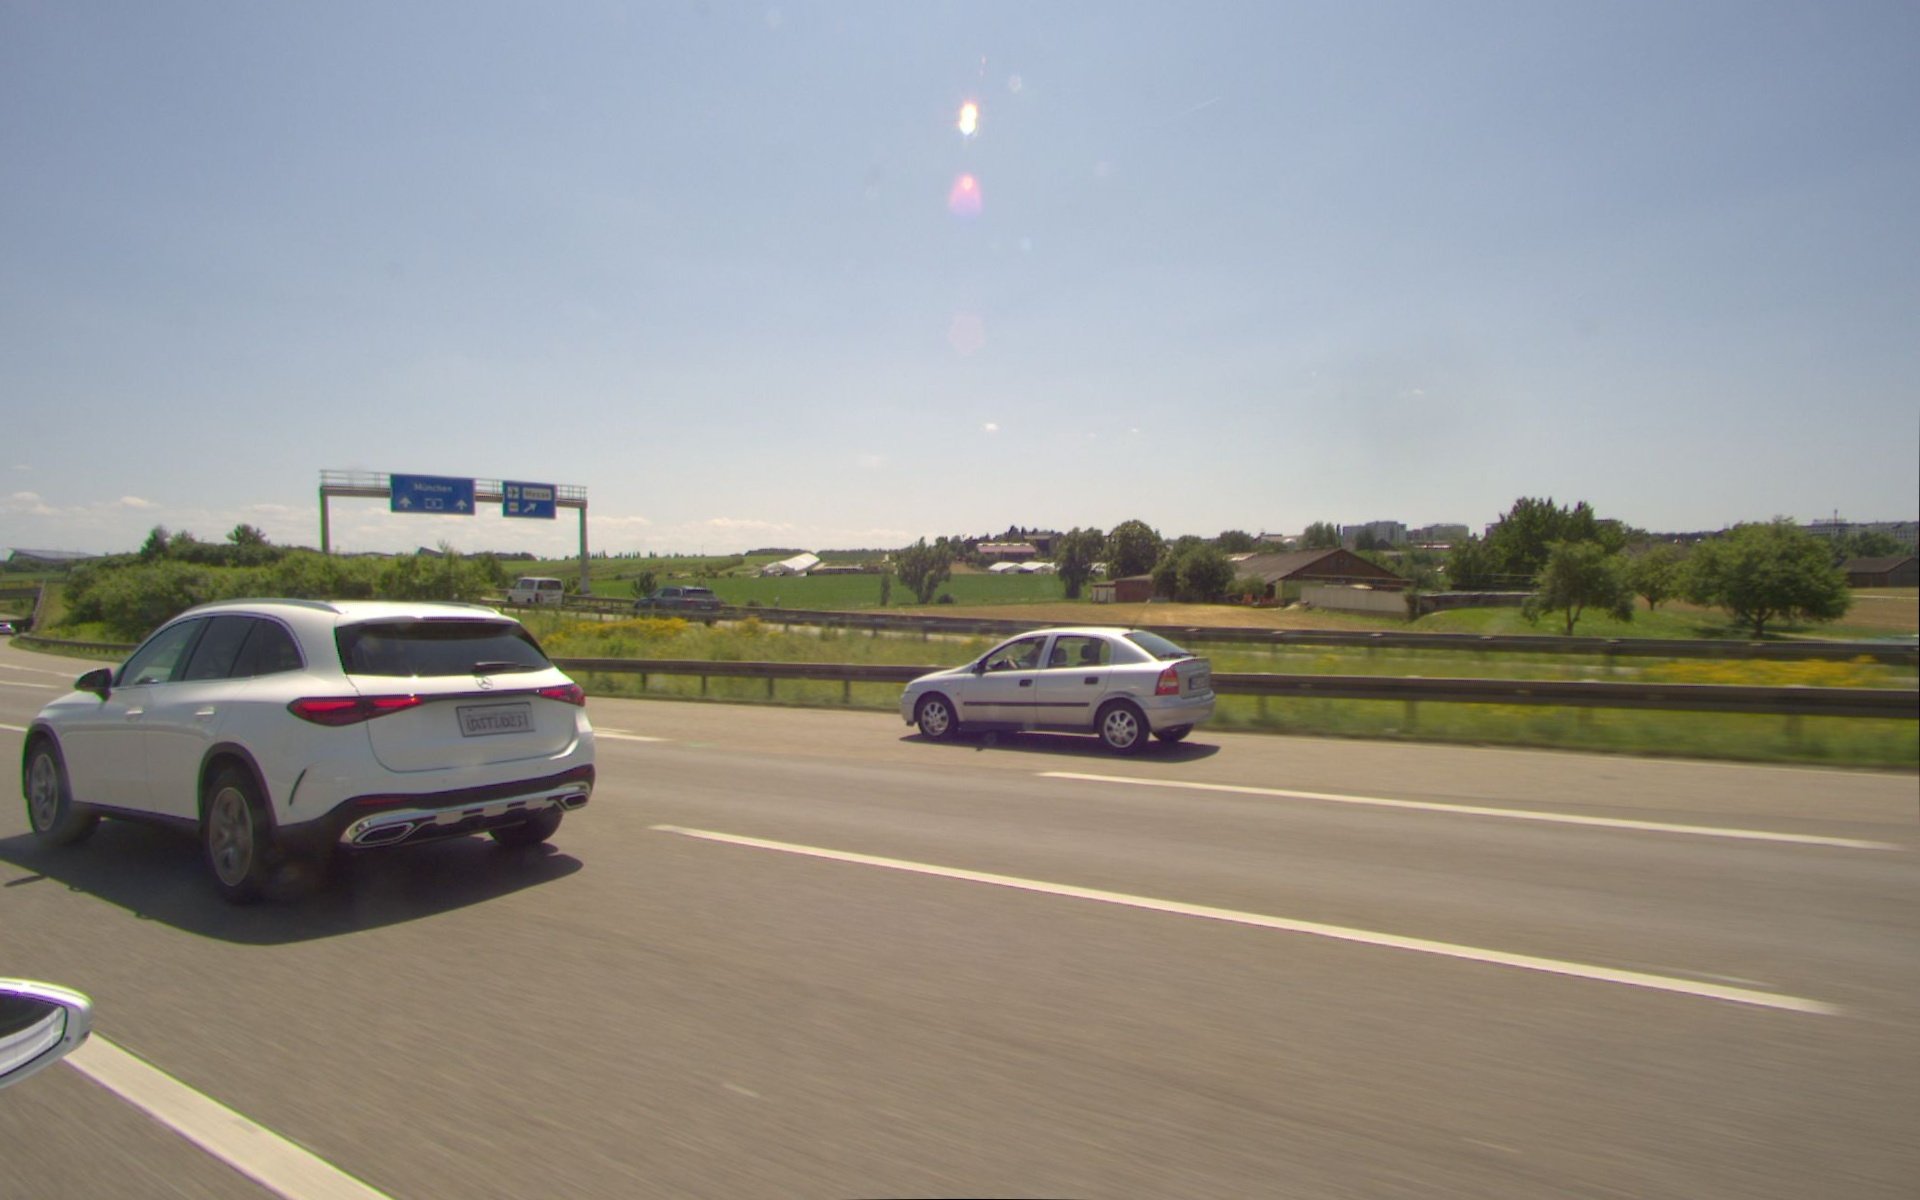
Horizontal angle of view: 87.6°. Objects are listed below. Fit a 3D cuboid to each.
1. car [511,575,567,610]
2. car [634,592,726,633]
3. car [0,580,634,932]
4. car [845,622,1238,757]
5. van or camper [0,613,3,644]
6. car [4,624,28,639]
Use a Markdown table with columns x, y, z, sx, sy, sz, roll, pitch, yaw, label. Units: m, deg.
| x | y | z | sx | sy | sz | roll | pitch | yaw | label |
| --- | --- | --- | --- | --- | --- | --- | --- | --- | --- |
| -25.872 | -0.431 | 61.439 | 1.925 | 1.948 | 4.142 | 0 | -2 | -42 | car |
| -11.757 | 0.552 | 41.964 | 4.080 | 1.595 | 1.692 | -2 | -2 | 40 | car |
| -4.650 | 0.833 | 6.899 | 4.929 | 1.668 | 1.894 | -2 | -2 | 33 | car |
| 0.936 | 1.063 | 12.892 | 4.780 | 1.455 | 1.782 | -2 | -2 | 33 | car |
| -66.380 | 1.953 | 67.850 | 4.261 | 2.039 | 2.143 | -3 | -2 | 44 | van or camper |
| -116.068 | 3.868 | 123.099 | 1.979 | 1.772 | 3.966 | 0 | -2 | -41 | car |
